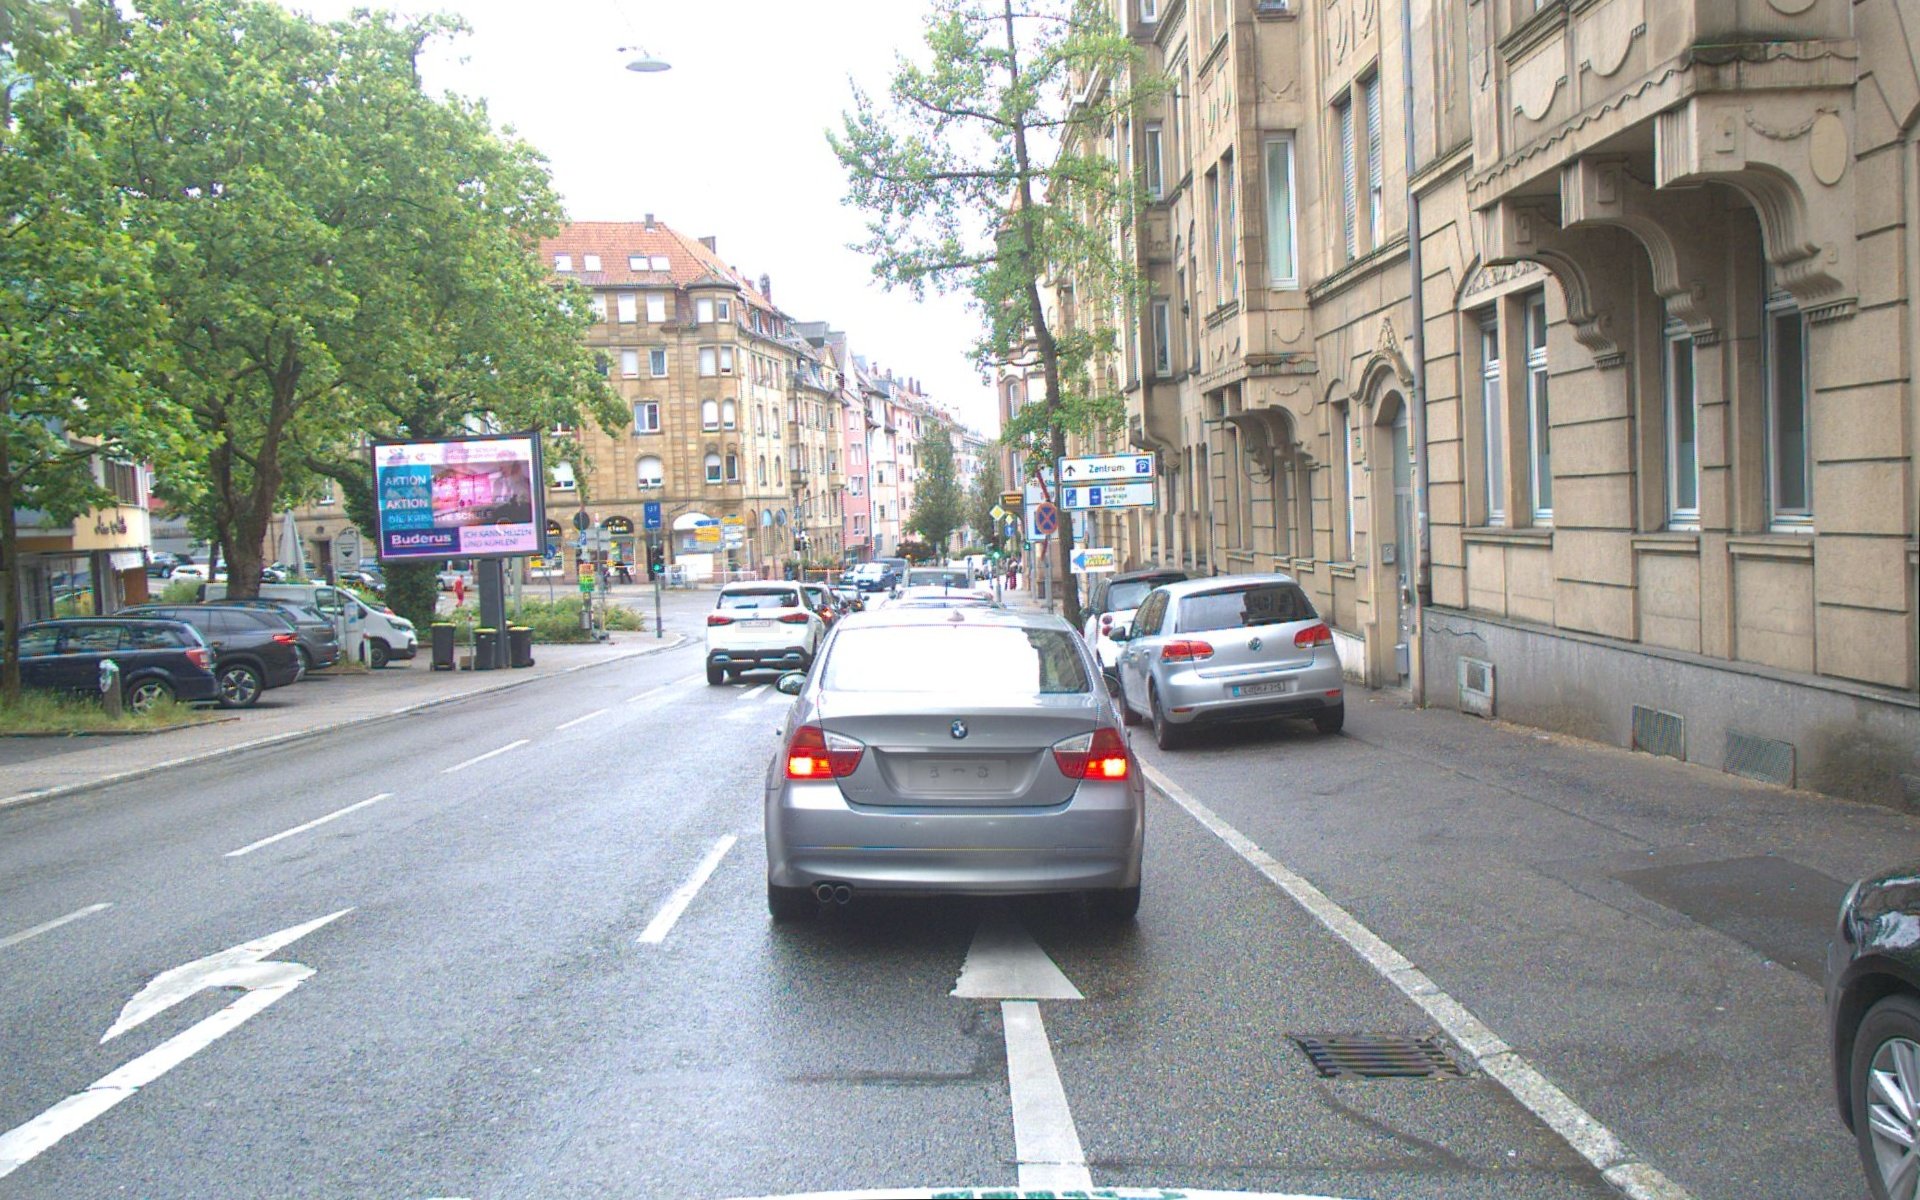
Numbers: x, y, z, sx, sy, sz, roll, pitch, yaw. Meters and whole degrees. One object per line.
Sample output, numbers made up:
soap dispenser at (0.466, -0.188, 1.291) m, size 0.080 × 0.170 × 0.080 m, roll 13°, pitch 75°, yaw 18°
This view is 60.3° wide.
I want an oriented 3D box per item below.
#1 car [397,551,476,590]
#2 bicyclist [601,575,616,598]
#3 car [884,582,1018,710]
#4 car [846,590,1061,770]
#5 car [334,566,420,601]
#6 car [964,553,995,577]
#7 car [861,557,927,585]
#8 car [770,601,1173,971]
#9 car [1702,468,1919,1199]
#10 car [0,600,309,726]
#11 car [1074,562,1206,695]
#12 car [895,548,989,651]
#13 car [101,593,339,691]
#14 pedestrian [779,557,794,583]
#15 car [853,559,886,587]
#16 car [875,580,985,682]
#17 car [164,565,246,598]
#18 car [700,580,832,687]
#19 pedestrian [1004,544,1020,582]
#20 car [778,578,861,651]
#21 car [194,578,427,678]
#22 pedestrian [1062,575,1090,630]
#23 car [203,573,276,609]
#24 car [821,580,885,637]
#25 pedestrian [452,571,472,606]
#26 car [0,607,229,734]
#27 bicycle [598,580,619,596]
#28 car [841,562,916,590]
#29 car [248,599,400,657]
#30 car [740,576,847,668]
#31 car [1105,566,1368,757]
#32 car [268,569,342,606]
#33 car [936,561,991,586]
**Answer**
car at (-30.413, -1.736, 96.122) m, size 4.196 × 2.138 × 1.998 m, roll 2°, pitch 2°, yaw 28°
bicyclist at (-19.408, -0.738, 91.303) m, size 0.556 × 1.295 × 0.690 m, roll 1°, pitch 0°, yaw 11°
car at (-0.091, 0.513, 21.212) m, size 1.562 × 1.490 × 4.000 m, roll 0°, pitch 1°, yaw 0°
car at (-0.042, 0.634, 15.330) m, size 1.723 × 1.407 × 4.000 m, roll -1°, pitch 1°, yaw 0°
car at (-30.228, -0.866, 85.736) m, size 4.157 × 1.756 × 1.997 m, roll 1°, pitch 2°, yaw 30°
car at (1.427, -2.507, 120.270) m, size 1.951 × 1.606 × 4.002 m, roll 1°, pitch 0°, yaw 5°
car at (-5.173, -2.299, 130.080) m, size 5.072 × 2.049 × 2.698 m, roll 1°, pitch 0°, yaw -1°
car at (0.057, 0.744, 8.390) m, size 1.590 × 1.407 × 3.615 m, roll -1°, pitch 1°, yaw 0°
car at (2.751, 0.504, 1.988) m, size 1.724 × 1.679 × 4.098 m, roll -6°, pitch 1°, yaw 0°
car at (-12.870, 0.957, 26.676) m, size 4.308 × 1.701 × 1.842 m, roll -3°, pitch 1°, yaw -24°
car at (2.408, 0.348, 22.649) m, size 1.273 × 1.569 × 2.975 m, roll -6°, pitch 1°, yaw -1°
car at (-0.399, -0.010, 36.386) m, size 1.953 × 2.143 × 3.999 m, roll 0°, pitch 0°, yaw -1°
car at (-15.054, 0.820, 33.901) m, size 4.295 × 1.815 × 1.927 m, roll -2°, pitch 0°, yaw -22°
pedestrian at (-10.570, -1.832, 100.844) m, size 0.716 × 1.605 × 0.528 m, roll -2°, pitch 1°, yaw 8°
car at (-5.031, -1.484, 92.003) m, size 1.680 × 1.476 × 3.741 m, roll -2°, pitch 0°, yaw -1°
car at (-0.466, 0.471, 28.160) m, size 1.723 × 1.594 × 4.000 m, roll -1°, pitch 1°, yaw 0°
car at (-42.107, -1.042, 92.223) m, size 4.155 × 1.756 × 1.998 m, roll 0°, pitch 3°, yaw 29°
car at (-3.202, 0.501, 27.986) m, size 1.830 × 1.654 × 3.999 m, roll -1°, pitch 1°, yaw -1°
pedestrian at (2.754, -1.951, 87.330) m, size 0.727 × 1.943 × 0.659 m, roll -2°, pitch 1°, yaw -2°
car at (-3.514, 0.327, 41.906) m, size 1.723 × 1.737 × 4.000 m, roll -1°, pitch 1°, yaw 0°
car at (-15.334, 0.622, 39.264) m, size 4.989 × 2.142 × 1.979 m, roll -2°, pitch 0°, yaw -22°
pedestrian at (3.406, 0.077, 48.547) m, size 0.618 × 1.534 × 0.693 m, roll -6°, pitch 0°, yaw -2°
car at (-45.401, -0.594, 104.210) m, size 4.196 × 2.138 × 1.998 m, roll 2°, pitch 2°, yaw 28°
car at (-3.357, 0.232, 52.582) m, size 1.723 × 1.737 × 4.000 m, roll -1°, pitch 1°, yaw 0°
pedestrian at (-23.728, -0.563, 78.807) m, size 0.525 × 1.604 × 0.720 m, roll -3°, pitch 1°, yaw 14°
car at (-12.988, 1.022, 23.927) m, size 4.299 × 1.601 × 1.929 m, roll -3°, pitch 1°, yaw -24°
bicycle at (-19.411, -0.660, 91.377) m, size 0.561 × 0.873 × 1.523 m, roll 1°, pitch 0°, yaw 11°
car at (-5.027, -1.468, 102.357) m, size 1.965 × 1.606 × 4.625 m, roll 1°, pitch 0°, yaw 42°
car at (-17.952, 0.781, 46.787) m, size 3.916 × 1.475 × 1.757 m, roll -2°, pitch 0°, yaw -22°
car at (-3.309, 0.393, 33.532) m, size 1.723 × 1.737 × 4.000 m, roll -1°, pitch 1°, yaw 0°
car at (2.572, 0.511, 16.329) m, size 1.725 × 1.476 × 3.999 m, roll -6°, pitch 1°, yaw -1°
car at (-40.310, -0.780, 101.839) m, size 4.196 × 2.138 × 1.998 m, roll 2°, pitch 2°, yaw 28°
car at (0.249, -1.788, 111.822) m, size 1.957 × 1.606 × 3.991 m, roll 1°, pitch 0°, yaw 31°
